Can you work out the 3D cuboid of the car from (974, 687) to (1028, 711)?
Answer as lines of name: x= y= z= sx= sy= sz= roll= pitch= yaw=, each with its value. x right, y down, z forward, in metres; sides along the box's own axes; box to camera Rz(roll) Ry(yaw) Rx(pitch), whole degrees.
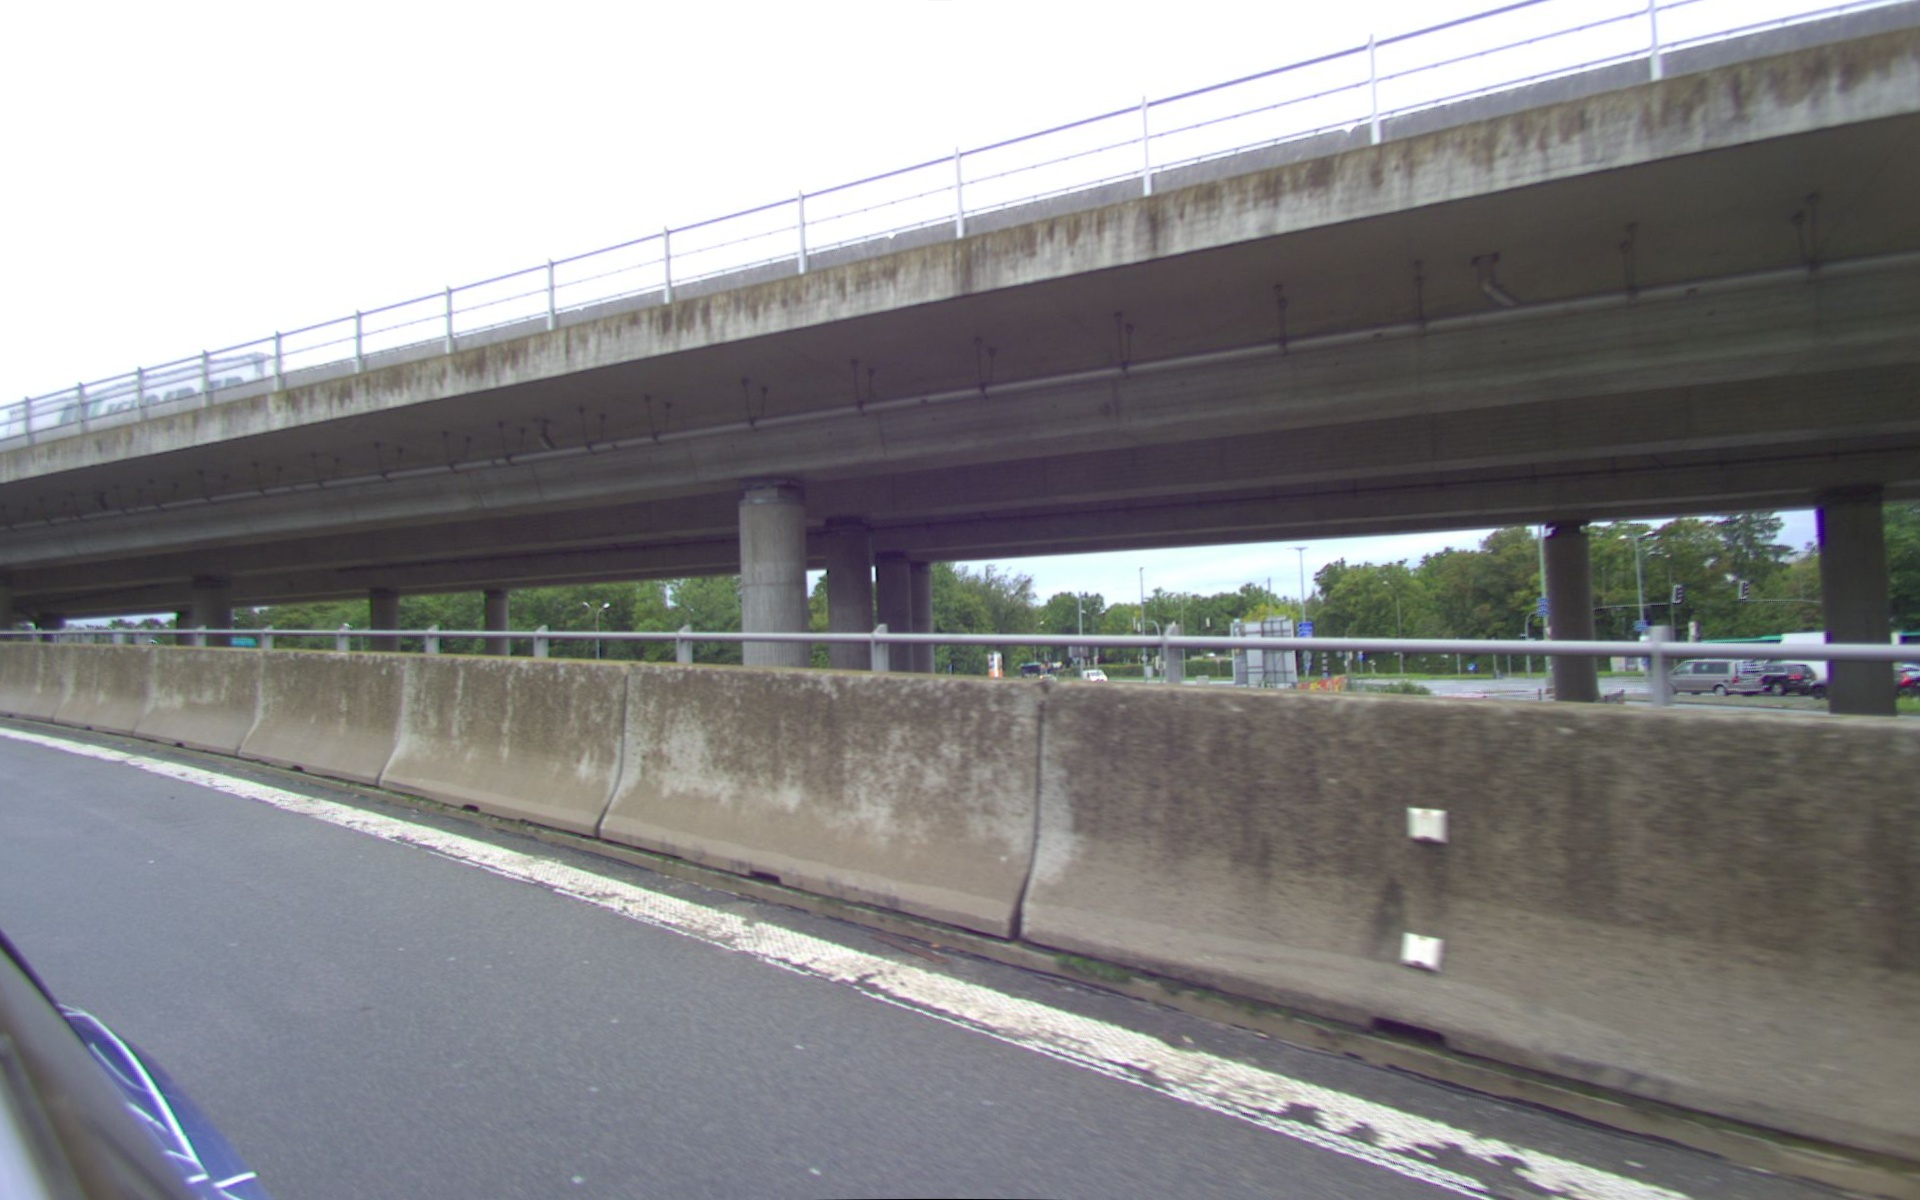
car: x=3.294 y=7.901 z=80.967 sx=3.965 sy=1.630 sz=1.839 roll=-2 pitch=0 yaw=17

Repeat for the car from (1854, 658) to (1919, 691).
car: x=49.256 y=3.831 z=52.054 sx=1.943 sy=1.595 sz=4.600 roll=1 pitch=-2 yaw=-10

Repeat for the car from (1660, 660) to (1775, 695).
car: x=39.697 y=4.025 z=53.192 sx=1.942 sy=1.618 sz=4.602 roll=1 pitch=-2 yaw=-13

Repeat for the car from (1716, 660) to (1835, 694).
car: x=42.764 y=4.025 z=53.212 sx=1.942 sy=1.618 sz=4.602 roll=1 pitch=-2 yaw=-13

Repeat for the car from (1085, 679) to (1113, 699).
car: x=15.158 y=9.720 z=110.726 sx=1.969 sy=2.029 sz=4.563 roll=1 pitch=-2 yaw=-6

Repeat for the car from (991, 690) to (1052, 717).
car: x=4.675 y=7.868 z=76.890 sx=4.327 sy=1.763 sz=1.800 roll=-2 pitch=0 yaw=17

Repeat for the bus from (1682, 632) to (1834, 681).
bus: x=66.430 y=4.609 z=84.569 sx=9.900 sy=3.729 sz=2.203 roll=0 pitch=-1 yaw=39

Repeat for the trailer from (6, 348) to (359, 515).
trailer: x=-25.312 y=-5.096 z=32.574 sx=13.972 sy=3.323 sz=2.645 roll=-3 pitch=-2 yaw=24

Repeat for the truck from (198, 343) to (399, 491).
truck: x=-19.595 y=-5.271 z=29.991 sx=5.162 sy=3.270 sz=2.576 roll=-4 pitch=-2 yaw=24

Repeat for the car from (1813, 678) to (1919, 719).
car: x=41.298 y=4.356 z=45.195 sx=1.943 sy=1.595 sz=4.602 roll=1 pitch=-2 yaw=-12

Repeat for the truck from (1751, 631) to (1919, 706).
truck: x=46.191 y=3.514 z=53.506 sx=2.754 sy=3.708 sz=6.657 roll=1 pitch=-2 yaw=-10

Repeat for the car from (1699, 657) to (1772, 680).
car: x=58.750 y=5.214 z=76.746 sx=3.968 sy=1.719 sz=1.787 roll=-1 pitch=-4 yaw=19

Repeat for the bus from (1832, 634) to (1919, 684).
bus: x=74.079 y=4.564 z=78.327 sx=9.900 sy=3.729 sz=2.203 roll=0 pitch=-1 yaw=39
